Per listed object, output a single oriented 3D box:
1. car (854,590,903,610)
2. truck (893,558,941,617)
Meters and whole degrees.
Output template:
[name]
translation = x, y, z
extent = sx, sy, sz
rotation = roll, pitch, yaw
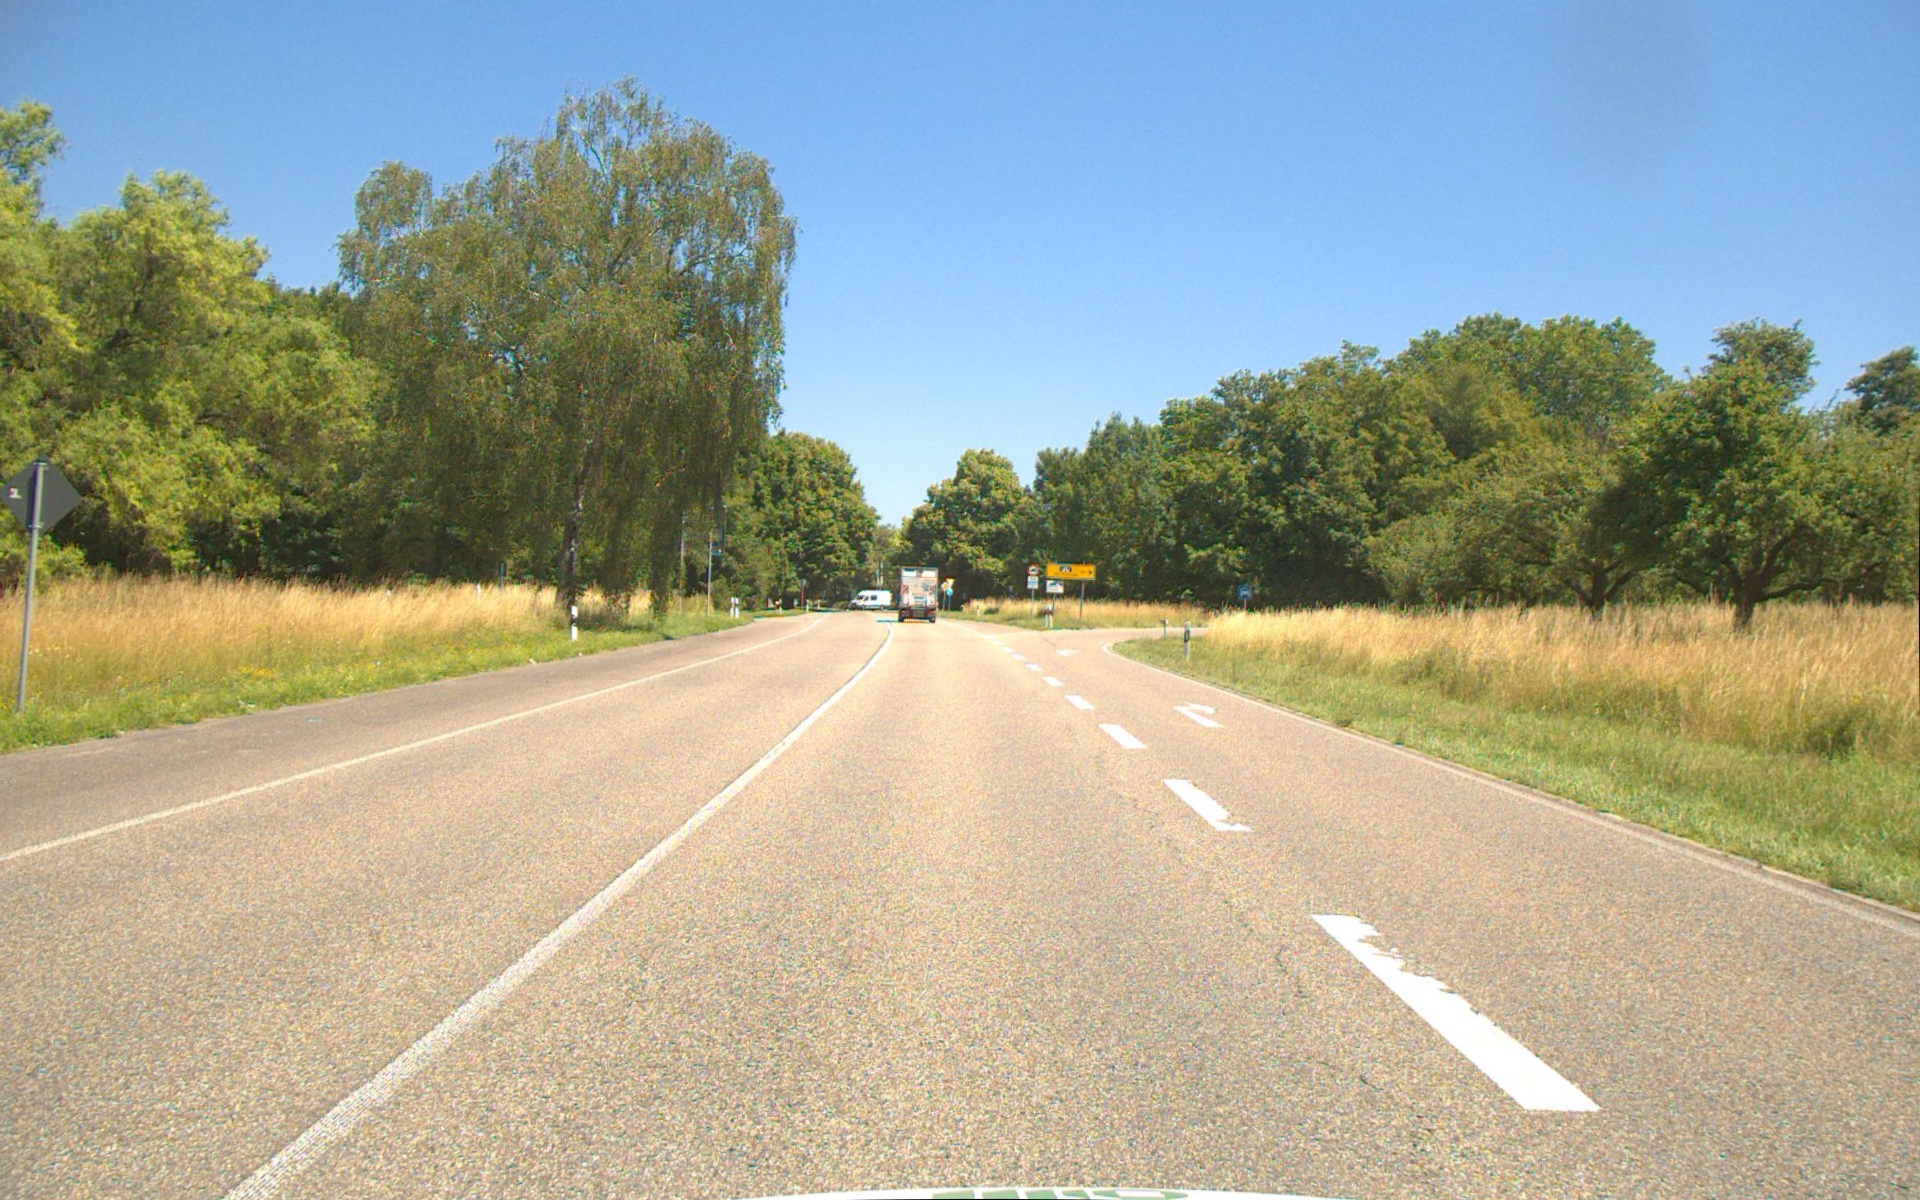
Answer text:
[car]
translation = -11.394, 0.058, 231.067
extent = 6.691, 2.673, 2.059
rotation = 1, -1, -31
[truck]
translation = -2.366, -0.701, 92.102
extent = 2.482, 3.190, 5.361
rotation = 1, 0, 0
